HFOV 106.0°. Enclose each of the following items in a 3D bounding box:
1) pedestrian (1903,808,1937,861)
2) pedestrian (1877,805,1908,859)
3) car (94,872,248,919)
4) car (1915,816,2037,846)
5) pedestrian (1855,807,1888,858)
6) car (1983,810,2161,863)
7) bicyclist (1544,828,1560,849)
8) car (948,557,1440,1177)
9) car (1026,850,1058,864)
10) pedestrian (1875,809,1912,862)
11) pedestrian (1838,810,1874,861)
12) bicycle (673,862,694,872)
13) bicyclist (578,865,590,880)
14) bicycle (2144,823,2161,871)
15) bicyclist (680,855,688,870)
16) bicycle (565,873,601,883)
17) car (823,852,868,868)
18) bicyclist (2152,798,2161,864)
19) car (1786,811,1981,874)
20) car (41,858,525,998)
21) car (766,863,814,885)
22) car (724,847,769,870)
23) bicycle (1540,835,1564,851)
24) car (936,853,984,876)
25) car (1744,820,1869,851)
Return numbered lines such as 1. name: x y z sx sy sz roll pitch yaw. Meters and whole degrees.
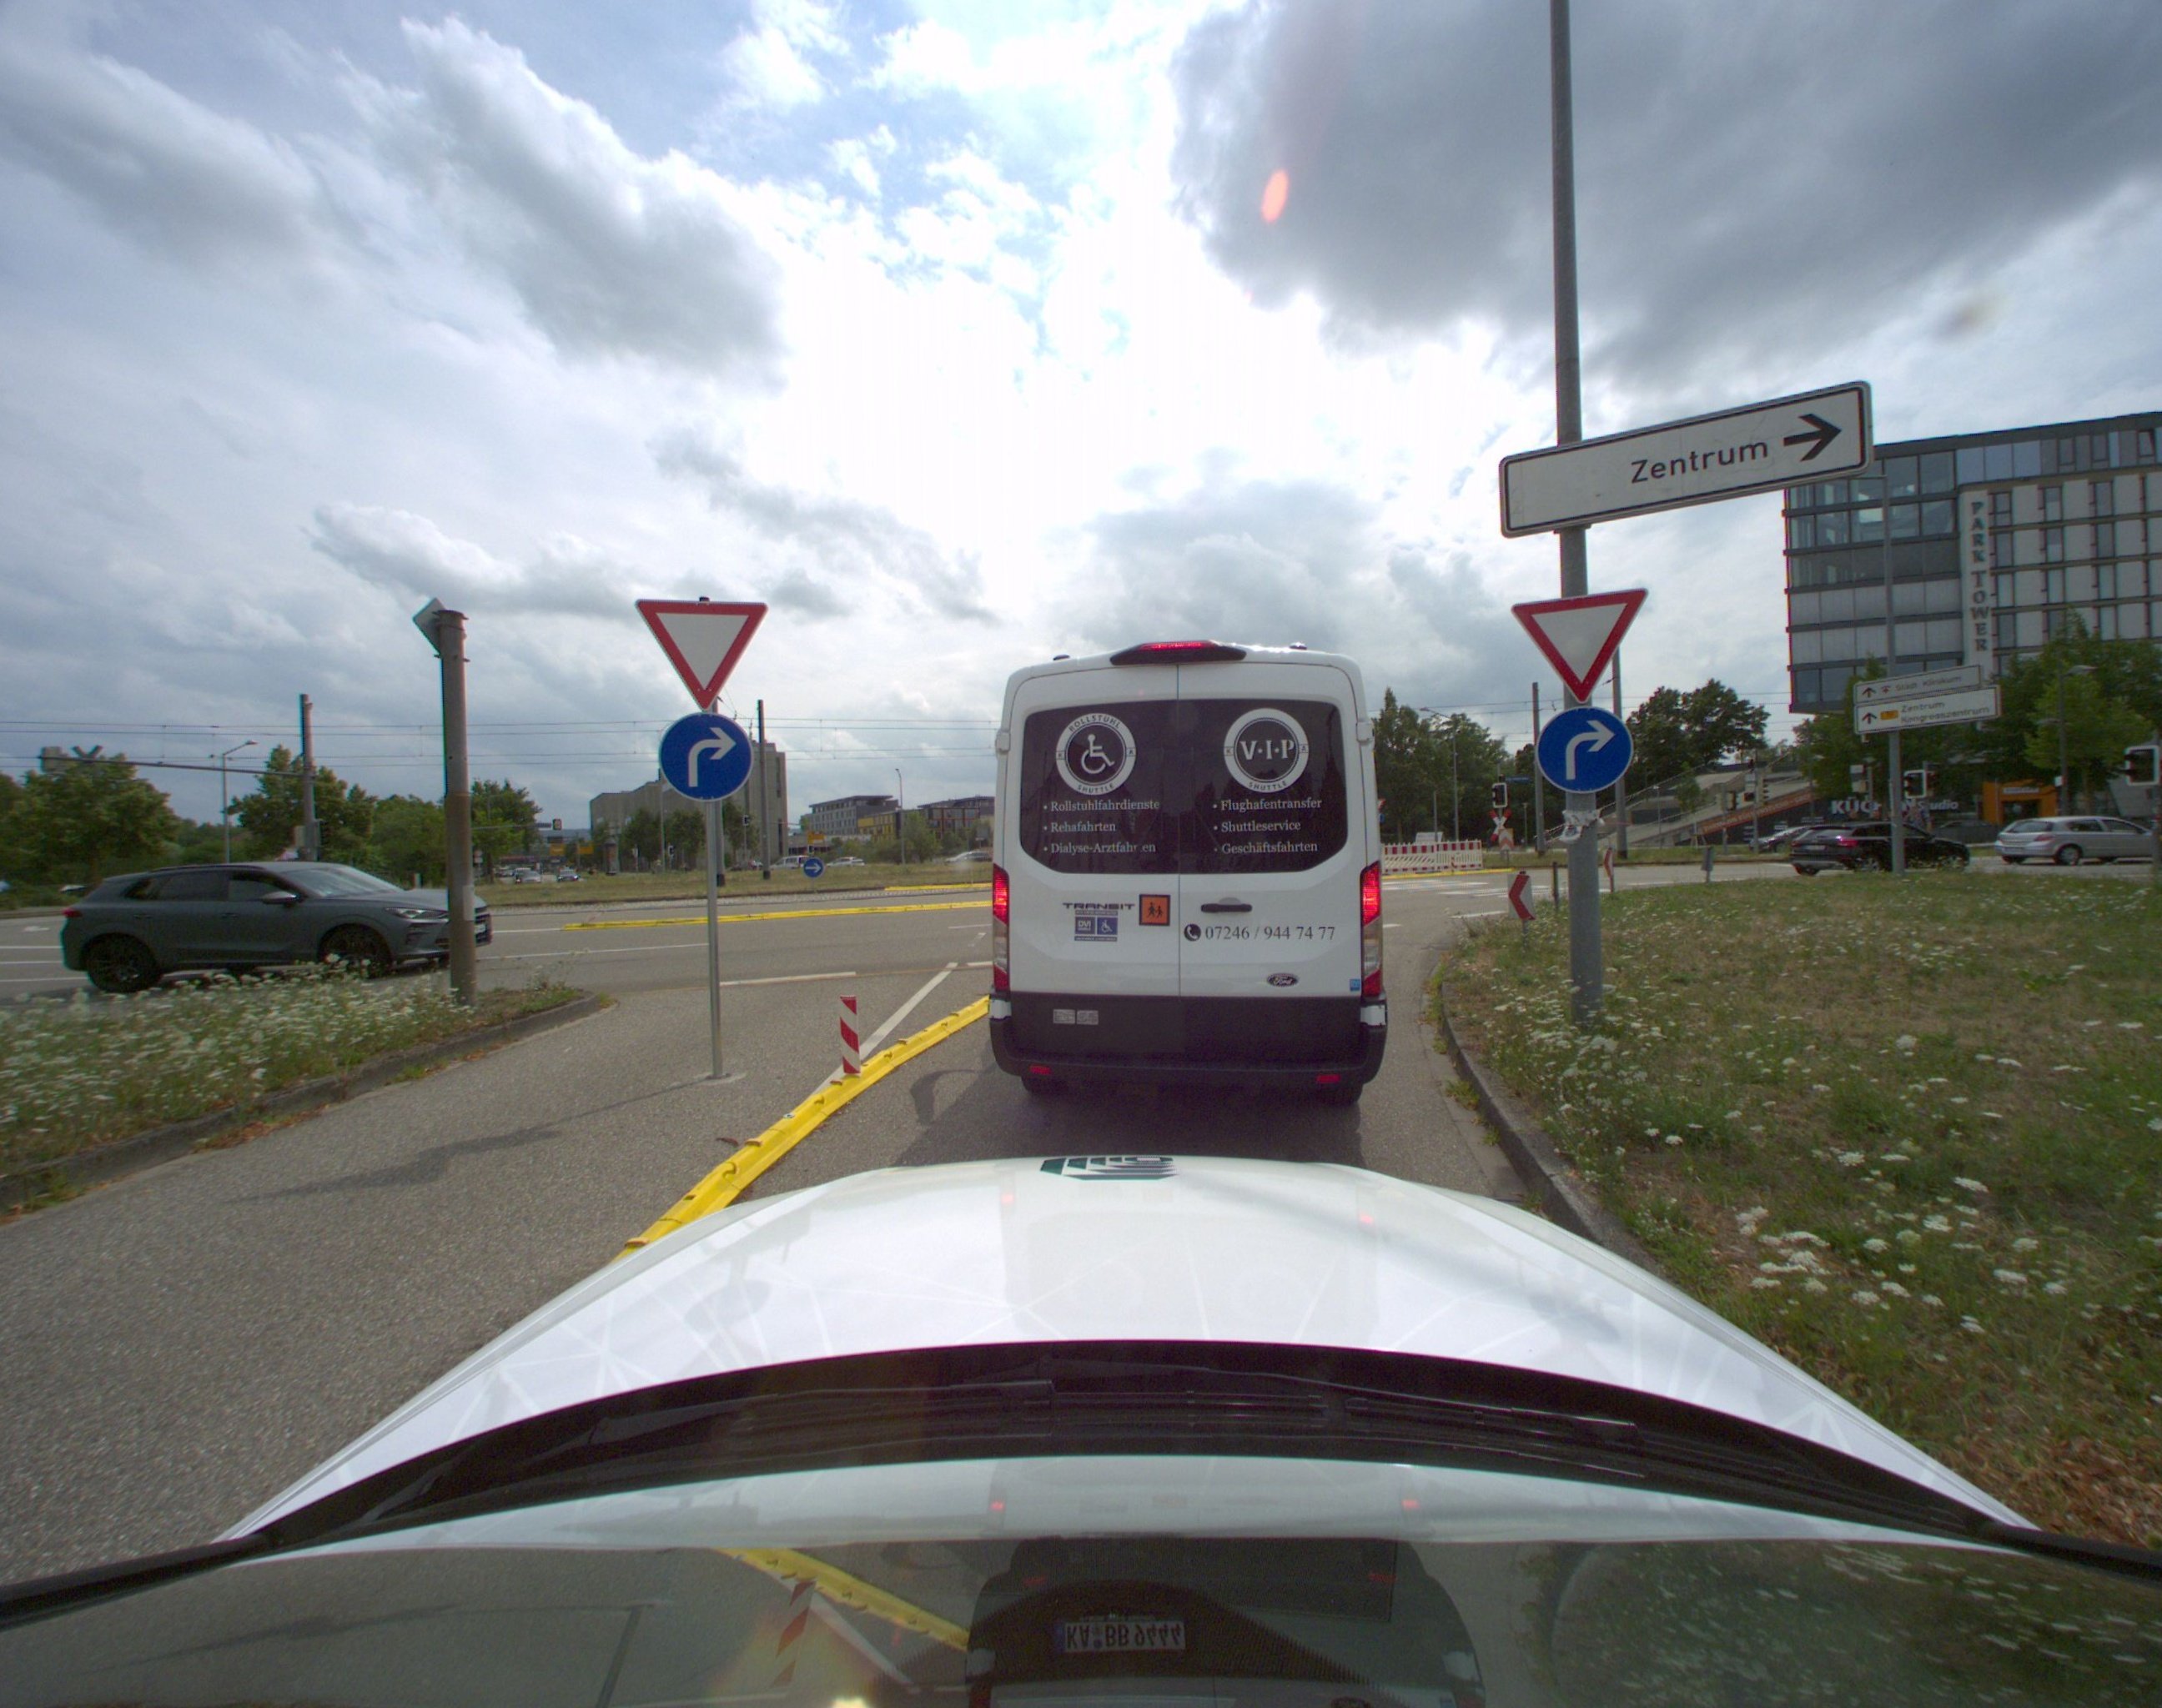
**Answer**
1. pedestrian: 28.680 -0.655 27.837 0.575 1.781 0.554 -2 1 6
2. pedestrian: 28.530 -0.771 28.649 0.527 1.862 0.554 -2 1 6
3. car: -41.157 1.834 37.018 1.925 1.665 4.357 -3 2 1
4. car: 46.914 -1.193 42.793 3.958 1.458 1.856 -2 1 14
5. pedestrian: 27.913 -0.754 28.761 0.628 1.781 0.554 -2 1 6
6. car: 30.740 -0.552 24.848 4.226 1.462 1.833 -2 1 4
7. bicyclist: 30.625 -1.014 52.942 0.635 1.317 0.676 -2 1 4
8. car: 0.876 0.059 6.469 2.114 2.697 5.645 -2 0 8
9. car: -4.261 0.351 89.568 1.810 1.463 4.024 -2 0 26
10. pedestrian: 28.010 -0.636 28.084 0.684 1.781 0.554 -2 1 6
11. pedestrian: 27.217 -0.645 28.605 0.684 1.781 0.554 -2 1 6
12. bicycle: -40.572 1.342 83.040 1.834 0.877 0.527 -2 0 -19
13. bicyclist: -45.990 1.700 75.376 0.853 1.409 0.678 -2 0 36
14. bicycle: 26.814 -0.179 19.765 0.781 1.168 2.054 -2 0 40
15. bicyclist: -40.482 0.843 83.104 0.650 1.558 0.527 -2 0 -19
16. bicycle: -46.019 2.217 75.315 0.853 0.855 2.676 -2 1 36
17. car: -23.490 0.618 81.190 3.952 1.463 1.843 -1 -1 23
18. bicyclist: 26.663 -0.570 19.628 0.781 1.627 1.055 -2 0 41
19. car: 21.837 -0.318 22.205 4.134 1.519 1.735 -2 1 -11
20. car: -10.815 0.930 11.414 4.453 1.551 2.061 -2 1 -5
21. car: -28.232 1.961 78.946 4.306 2.014 2.012 -1 -1 29
22. car: -30.643 0.438 74.609 3.948 2.014 2.013 -2 -1 36
23. bicycle: 30.637 -0.692 52.962 0.649 1.007 1.759 -2 1 5
24. car: -11.074 0.941 74.709 4.005 2.014 1.984 -1 -1 -24
25. car: 38.920 -0.982 43.818 4.689 1.458 1.855 -2 1 13
